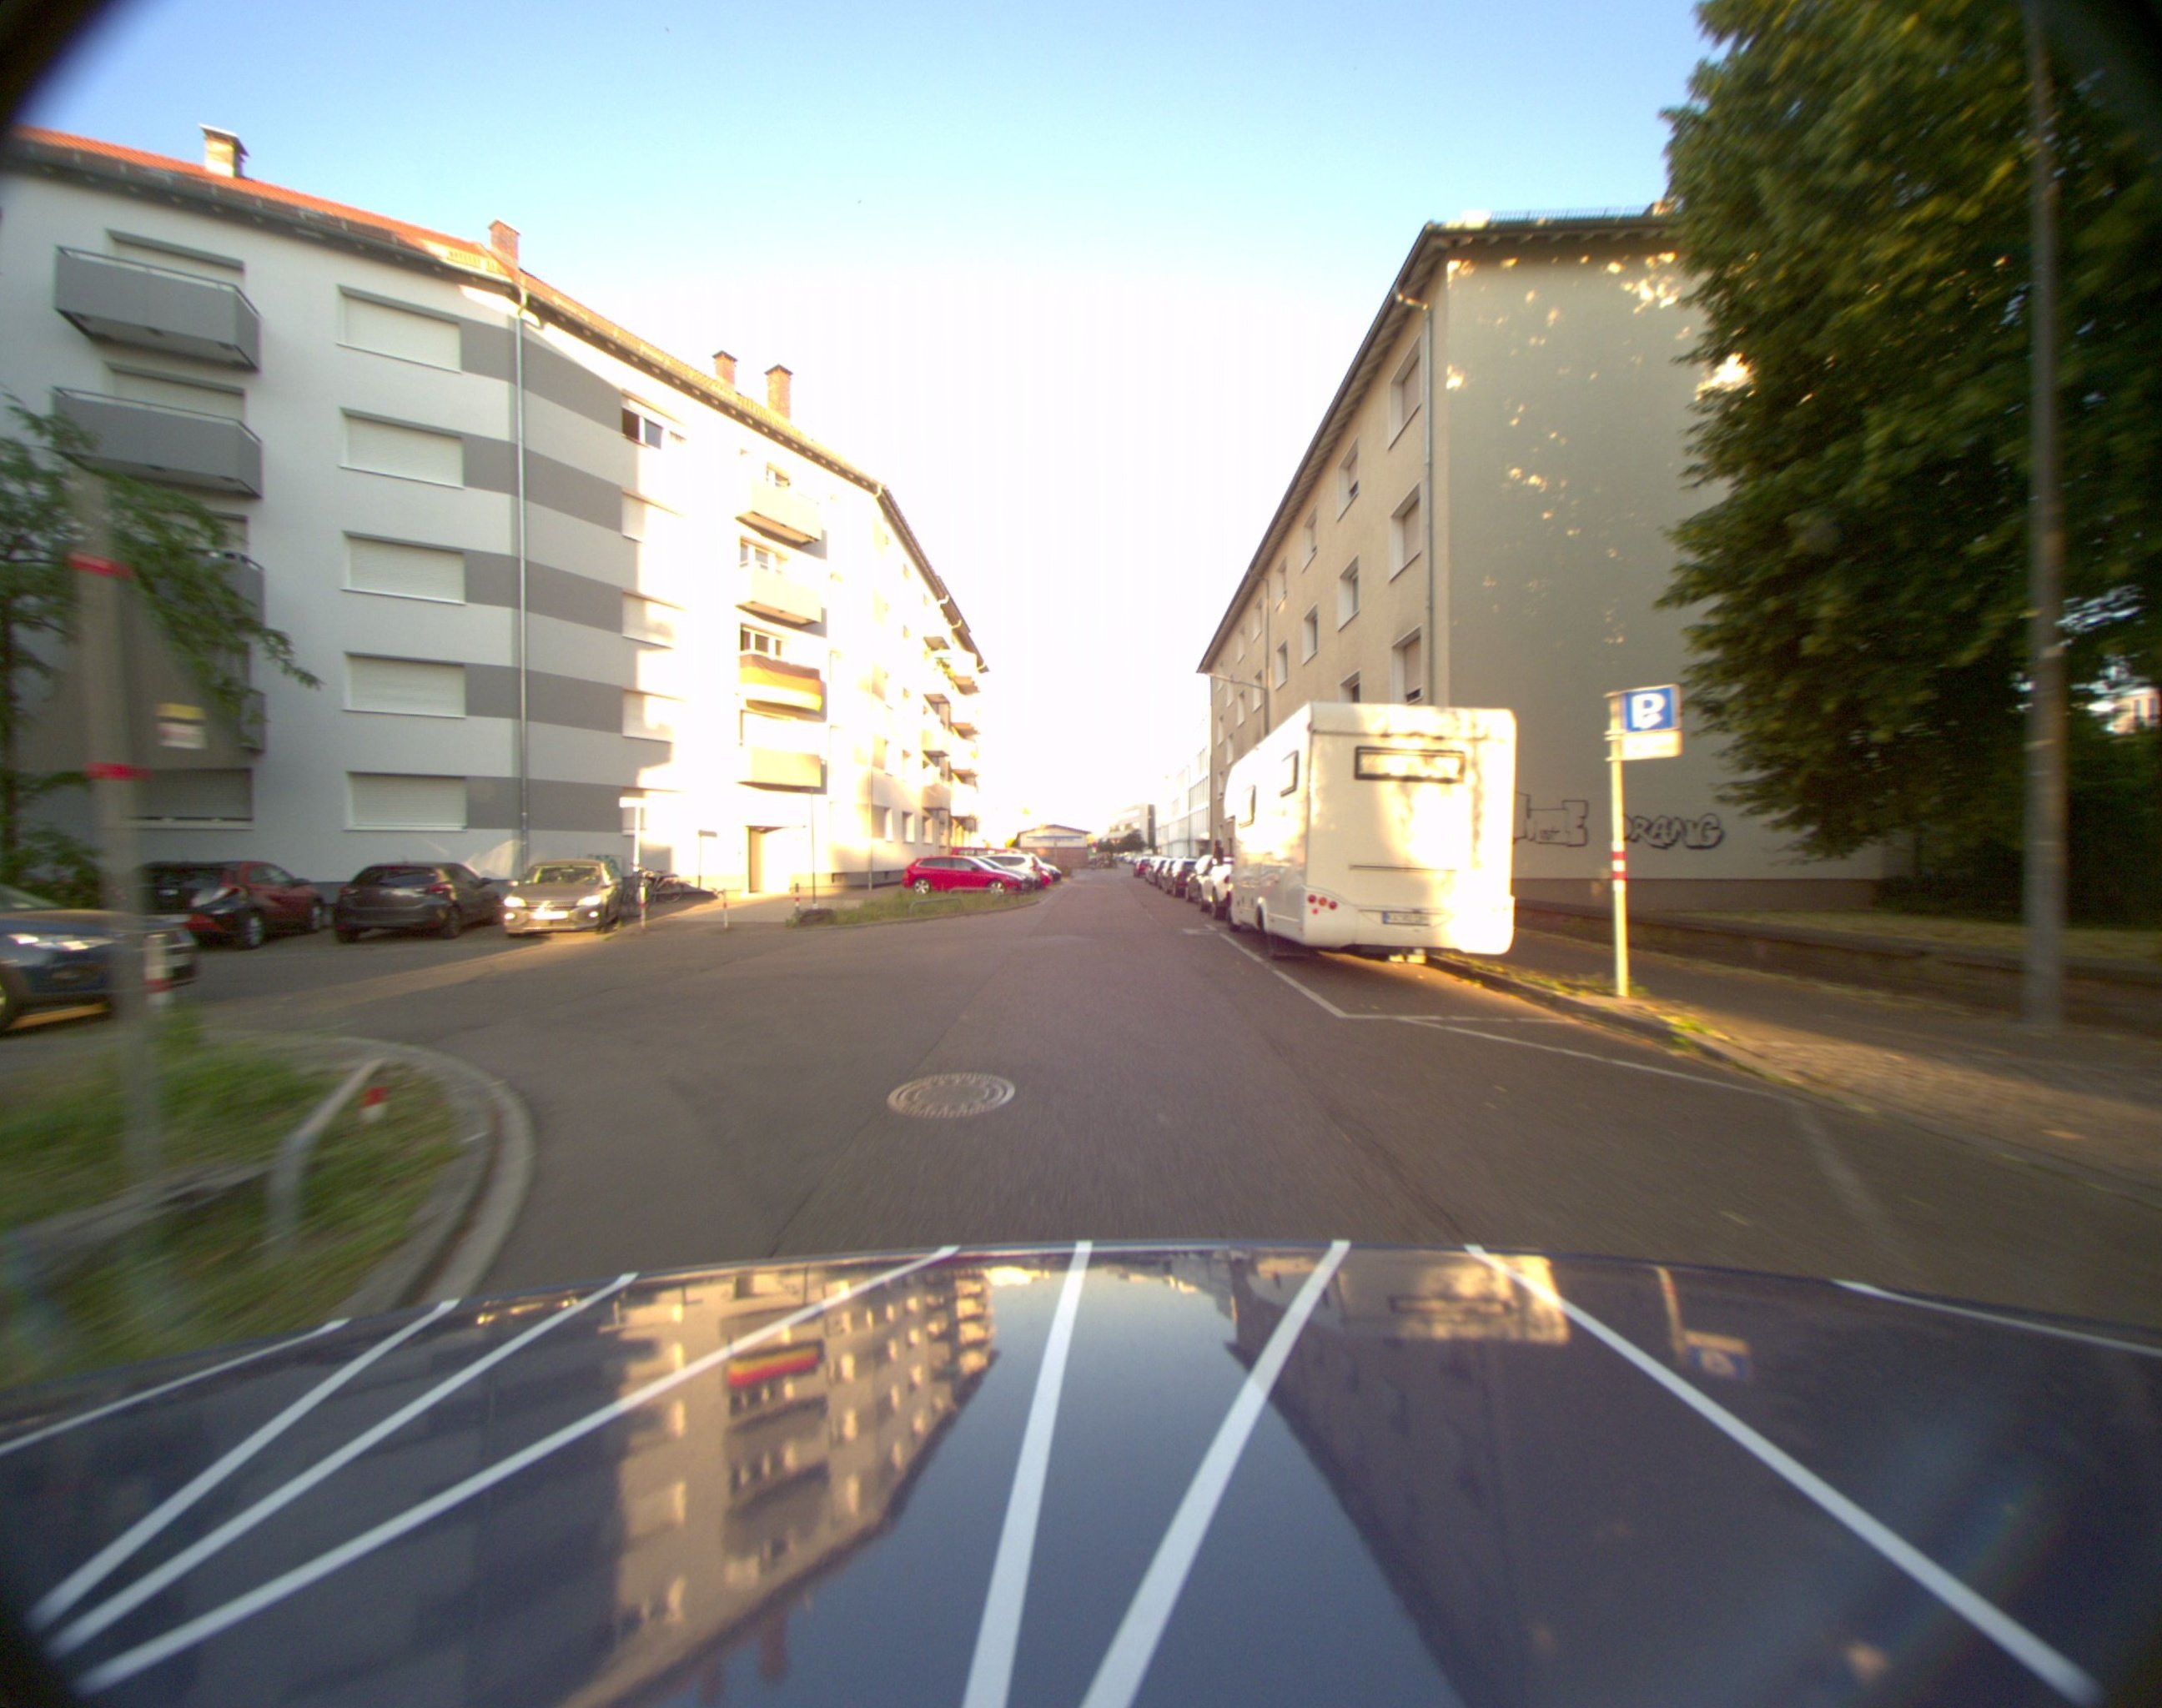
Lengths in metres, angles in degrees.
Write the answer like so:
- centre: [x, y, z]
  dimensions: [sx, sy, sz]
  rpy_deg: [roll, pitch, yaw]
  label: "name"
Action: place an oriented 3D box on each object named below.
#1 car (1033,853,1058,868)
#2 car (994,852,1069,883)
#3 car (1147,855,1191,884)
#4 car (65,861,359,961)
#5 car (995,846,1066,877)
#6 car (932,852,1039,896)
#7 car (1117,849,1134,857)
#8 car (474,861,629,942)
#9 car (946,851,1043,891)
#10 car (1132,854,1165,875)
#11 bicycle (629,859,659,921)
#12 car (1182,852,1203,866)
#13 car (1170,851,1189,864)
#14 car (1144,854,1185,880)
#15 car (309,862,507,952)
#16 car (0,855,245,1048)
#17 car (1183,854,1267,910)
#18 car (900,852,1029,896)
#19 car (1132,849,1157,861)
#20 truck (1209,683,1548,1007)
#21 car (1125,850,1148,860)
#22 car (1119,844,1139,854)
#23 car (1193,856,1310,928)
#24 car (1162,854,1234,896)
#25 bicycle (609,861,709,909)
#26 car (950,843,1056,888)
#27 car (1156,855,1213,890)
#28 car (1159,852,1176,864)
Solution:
- centre: [-3.626, 0.625, 76.922]
  dimensions: [2.000, 1.481, 4.427]
  rpy_deg: [-1, 0, -10]
  label: "car"
- centre: [-2.799, 0.743, 43.280]
  dimensions: [3.995, 1.674, 2.001]
  rpy_deg: [0, 0, 5]
  label: "car"
- centre: [4.557, 0.766, 39.977]
  dimensions: [1.792, 1.436, 4.431]
  rpy_deg: [-1, 0, 0]
  label: "car"
- centre: [-15.365, 0.895, 13.807]
  dimensions: [2.002, 1.455, 3.992]
  rpy_deg: [-1, 0, -24]
  label: "car"
- centre: [-3.266, 0.501, 50.057]
  dimensions: [4.427, 1.957, 2.001]
  rpy_deg: [0, 0, 4]
  label: "car"
- centre: [-3.720, 0.770, 30.192]
  dimensions: [3.997, 1.652, 2.000]
  rpy_deg: [0, 0, -1]
  label: "car"
- centre: [10.922, -0.244, 185.131]
  dimensions: [3.997, 2.002, 2.000]
  rpy_deg: [0, 0, 1]
  label: "car"
- centre: [-10.922, 0.884, 16.003]
  dimensions: [2.003, 1.412, 3.991]
  rpy_deg: [-1, 0, -25]
  label: "car"
- centre: [-3.650, 0.700, 32.629]
  dimensions: [3.997, 1.619, 1.784]
  rpy_deg: [0, 0, -1]
  label: "car"
- centre: [4.939, 0.740, 56.070]
  dimensions: [1.998, 1.481, 4.431]
  rpy_deg: [-1, 0, 0]
  label: "car"
- centre: [-10.548, 0.817, 18.388]
  dimensions: [0.517, 1.375, 2.499]
  rpy_deg: [-1, 1, -28]
  label: "bicycle"
- centre: [12.036, 0.541, 82.325]
  dimensions: [1.998, 1.477, 4.001]
  rpy_deg: [0, 0, 4]
  label: "car"
- centre: [11.457, 0.430, 88.304]
  dimensions: [1.998, 1.477, 4.001]
  rpy_deg: [0, 0, 4]
  label: "car"
- centre: [4.923, 0.719, 45.349]
  dimensions: [1.998, 1.436, 4.431]
  rpy_deg: [-1, 0, 0]
  label: "car"
- centre: [-13.225, 0.932, 15.265]
  dimensions: [1.849, 1.477, 3.992]
  rpy_deg: [-1, 0, -24]
  label: "car"
- centre: [-10.451, 0.807, 6.506]
  dimensions: [4.004, 1.564, 1.826]
  rpy_deg: [-1, 0, -21]
  label: "car"
- centre: [4.319, 0.793, 23.443]
  dimensions: [1.794, 1.525, 4.068]
  rpy_deg: [1, 0, 0]
  label: "car"
- centre: [-4.175, 0.700, 27.704]
  dimensions: [4.310, 1.532, 1.923]
  rpy_deg: [0, 0, 3]
  label: "car"
- centre: [10.070, 0.174, 120.547]
  dimensions: [3.996, 1.805, 2.000]
  rpy_deg: [0, 0, 4]
  label: "car"
- centre: [3.813, -0.120, 12.064]
  dimensions: [2.531, 3.334, 8.019]
  rpy_deg: [2, 0, 4]
  label: "truck"
- centre: [9.992, 0.137, 136.690]
  dimensions: [3.996, 1.740, 2.000]
  rpy_deg: [0, 0, 2]
  label: "car"
- centre: [10.117, -1.097, 159.834]
  dimensions: [3.997, 2.002, 2.000]
  rpy_deg: [0, 0, 1]
  label: "car"
- centre: [4.047, 0.834, 18.876]
  dimensions: [1.911, 1.468, 4.910]
  rpy_deg: [2, 0, 2]
  label: "car"
- centre: [4.314, 0.747, 28.711]
  dimensions: [1.998, 1.436, 4.431]
  rpy_deg: [-1, 0, 0]
  label: "car"
- centre: [-12.021, 0.851, 21.762]
  dimensions: [0.696, 1.266, 2.458]
  rpy_deg: [0, 1, 32]
  label: "bicycle"
- centre: [-3.598, 0.525, 35.536]
  dimensions: [4.684, 1.988, 2.000]
  rpy_deg: [0, 0, 2]
  label: "car"
- centre: [4.537, 0.773, 33.963]
  dimensions: [1.998, 1.436, 4.432]
  rpy_deg: [-1, 0, 1]
  label: "car"
- centre: [11.147, 0.460, 97.944]
  dimensions: [1.998, 1.510, 4.001]
  rpy_deg: [0, 0, 4]
  label: "car"
